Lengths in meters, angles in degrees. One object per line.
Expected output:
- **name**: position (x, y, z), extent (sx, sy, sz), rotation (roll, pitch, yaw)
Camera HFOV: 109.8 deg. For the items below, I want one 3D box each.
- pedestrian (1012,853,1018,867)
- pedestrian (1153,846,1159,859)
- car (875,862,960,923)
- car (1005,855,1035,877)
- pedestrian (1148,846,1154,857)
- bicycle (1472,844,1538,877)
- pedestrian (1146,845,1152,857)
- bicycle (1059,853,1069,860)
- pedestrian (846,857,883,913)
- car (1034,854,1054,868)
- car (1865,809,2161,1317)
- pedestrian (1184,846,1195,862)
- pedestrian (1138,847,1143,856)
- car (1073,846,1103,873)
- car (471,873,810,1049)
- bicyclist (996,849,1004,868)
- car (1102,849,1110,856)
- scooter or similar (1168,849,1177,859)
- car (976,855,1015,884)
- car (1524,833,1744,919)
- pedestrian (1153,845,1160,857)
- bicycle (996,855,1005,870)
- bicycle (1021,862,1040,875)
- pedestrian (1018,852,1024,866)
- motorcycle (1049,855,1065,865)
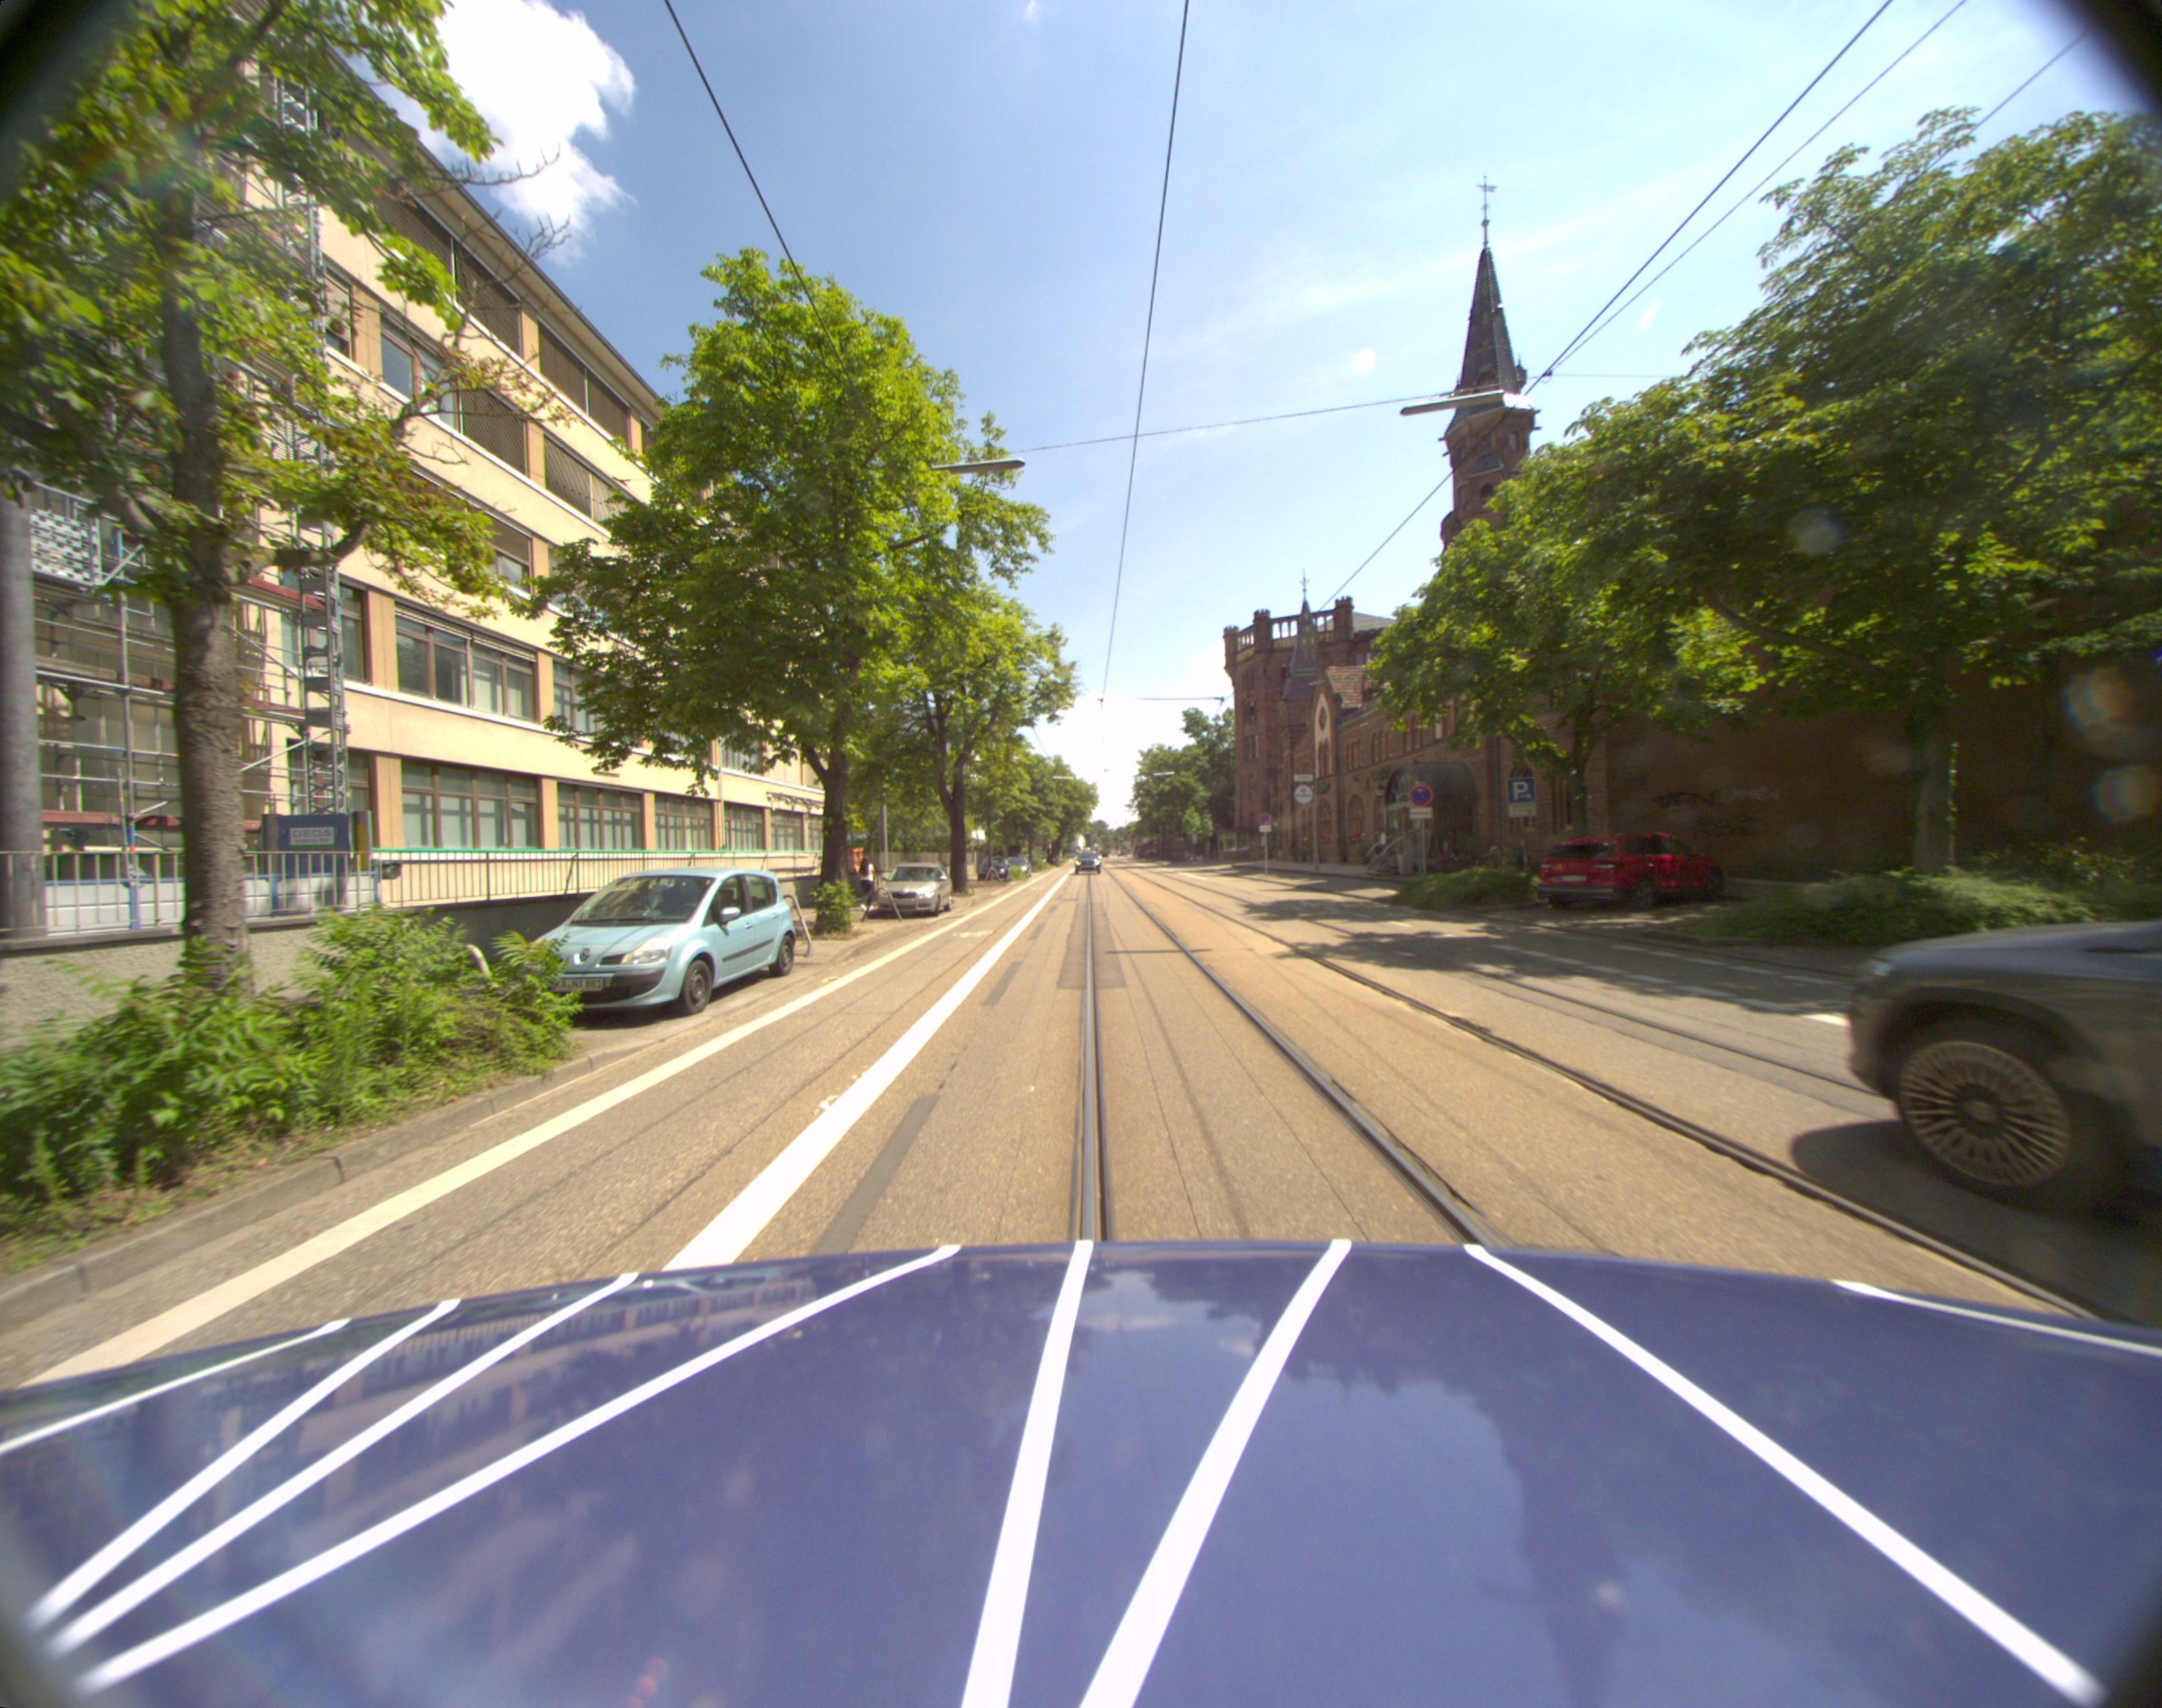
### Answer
- **pedestrian**: position (-7.408, 0.652, 85.391), extent (0.514, 1.564, 0.544), rotation (0, 1, 1)
- **pedestrian**: position (10.575, -0.161, 107.305), extent (0.723, 1.781, 0.919), rotation (-5, 1, 0)
- **car**: position (-4.669, 1.046, 22.281), extent (1.676, 1.490, 4.364), rotation (-2, 0, -2)
- **car**: position (-4.184, 0.805, 52.895), extent (1.675, 1.400, 4.748), rotation (-2, 0, 0)
- **pedestrian**: position (10.859, -0.381, 118.187), extent (0.679, 1.738, 0.919), rotation (-5, 1, 0)
- **bicycle**: position (14.117, 0.210, 25.296), extent (2.002, 0.886, 0.597), rotation (-7, 1, -16)
- **pedestrian**: position (10.813, -0.435, 120.268), extent (0.679, 1.780, 0.919), rotation (-5, 1, 0)
- **bicycle**: position (-3.213, 0.473, 141.092), extent (1.813, 1.105, 0.569), rotation (-3, 1, -3)
- **pedestrian**: position (-6.298, 0.891, 22.160), extent (0.801, 1.579, 0.919), rotation (0, 1, 0)
- **car**: position (-3.764, 0.689, 78.599), extent (1.756, 1.263, 3.833), rotation (-3, 0, 1)
- **car**: position (4.434, 0.671, 1.329), extent (1.835, 1.671, 4.184), rotation (-1, 0, 1)
- **pedestrian**: position (11.166, -0.047, 78.194), extent (0.801, 1.579, 0.919), rotation (-5, 1, 0)
- **pedestrian**: position (12.455, -0.494, 158.527), extent (0.750, 1.738, 0.919), rotation (-4, 1, 0)
- **car**: position (0.505, 0.380, 54.101), extent (1.998, 1.732, 4.227), rotation (-3, 0, 1)
- **car**: position (-4.934, 1.070, 9.323), extent (1.675, 1.509, 4.201), rotation (-2, 0, 0)
- **bicyclist**: position (-6.891, 0.379, 64.645), extent (0.582, 1.638, 0.599), rotation (0, 1, 0)
- **car**: position (6.568, -0.505, 201.537), extent (1.909, 1.778, 4.255), rotation (-2, 0, 1)
- **scooter or similar**: position (11.105, 0.052, 92.387), extent (0.348, 1.120, 1.227), rotation (-2, 2, 44)
- **car**: position (-4.622, 0.812, 41.500), extent (1.675, 1.481, 3.980), rotation (-2, 0, 0)
- **car**: position (12.255, 0.401, 16.789), extent (4.786, 1.557, 1.997), rotation (-3, 1, -27)
- **pedestrian**: position (11.716, -0.445, 118.123), extent (0.754, 1.766, 0.919), rotation (-5, 1, 0)
- **bicycle**: position (-6.867, 0.708, 64.607), extent (0.556, 1.258, 1.774), rotation (1, 1, 1)
- **bicycle**: position (-4.345, 1.216, 65.443), extent (1.589, 1.054, 0.562), rotation (-2, 1, -1)
- **pedestrian**: position (-6.781, 0.611, 85.367), extent (0.620, 1.564, 0.610), rotation (0, 1, 1)
- **motorcycle**: position (-2.938, 0.721, 93.323), extent (2.056, 1.206, 0.614), rotation (-1, 2, 40)
